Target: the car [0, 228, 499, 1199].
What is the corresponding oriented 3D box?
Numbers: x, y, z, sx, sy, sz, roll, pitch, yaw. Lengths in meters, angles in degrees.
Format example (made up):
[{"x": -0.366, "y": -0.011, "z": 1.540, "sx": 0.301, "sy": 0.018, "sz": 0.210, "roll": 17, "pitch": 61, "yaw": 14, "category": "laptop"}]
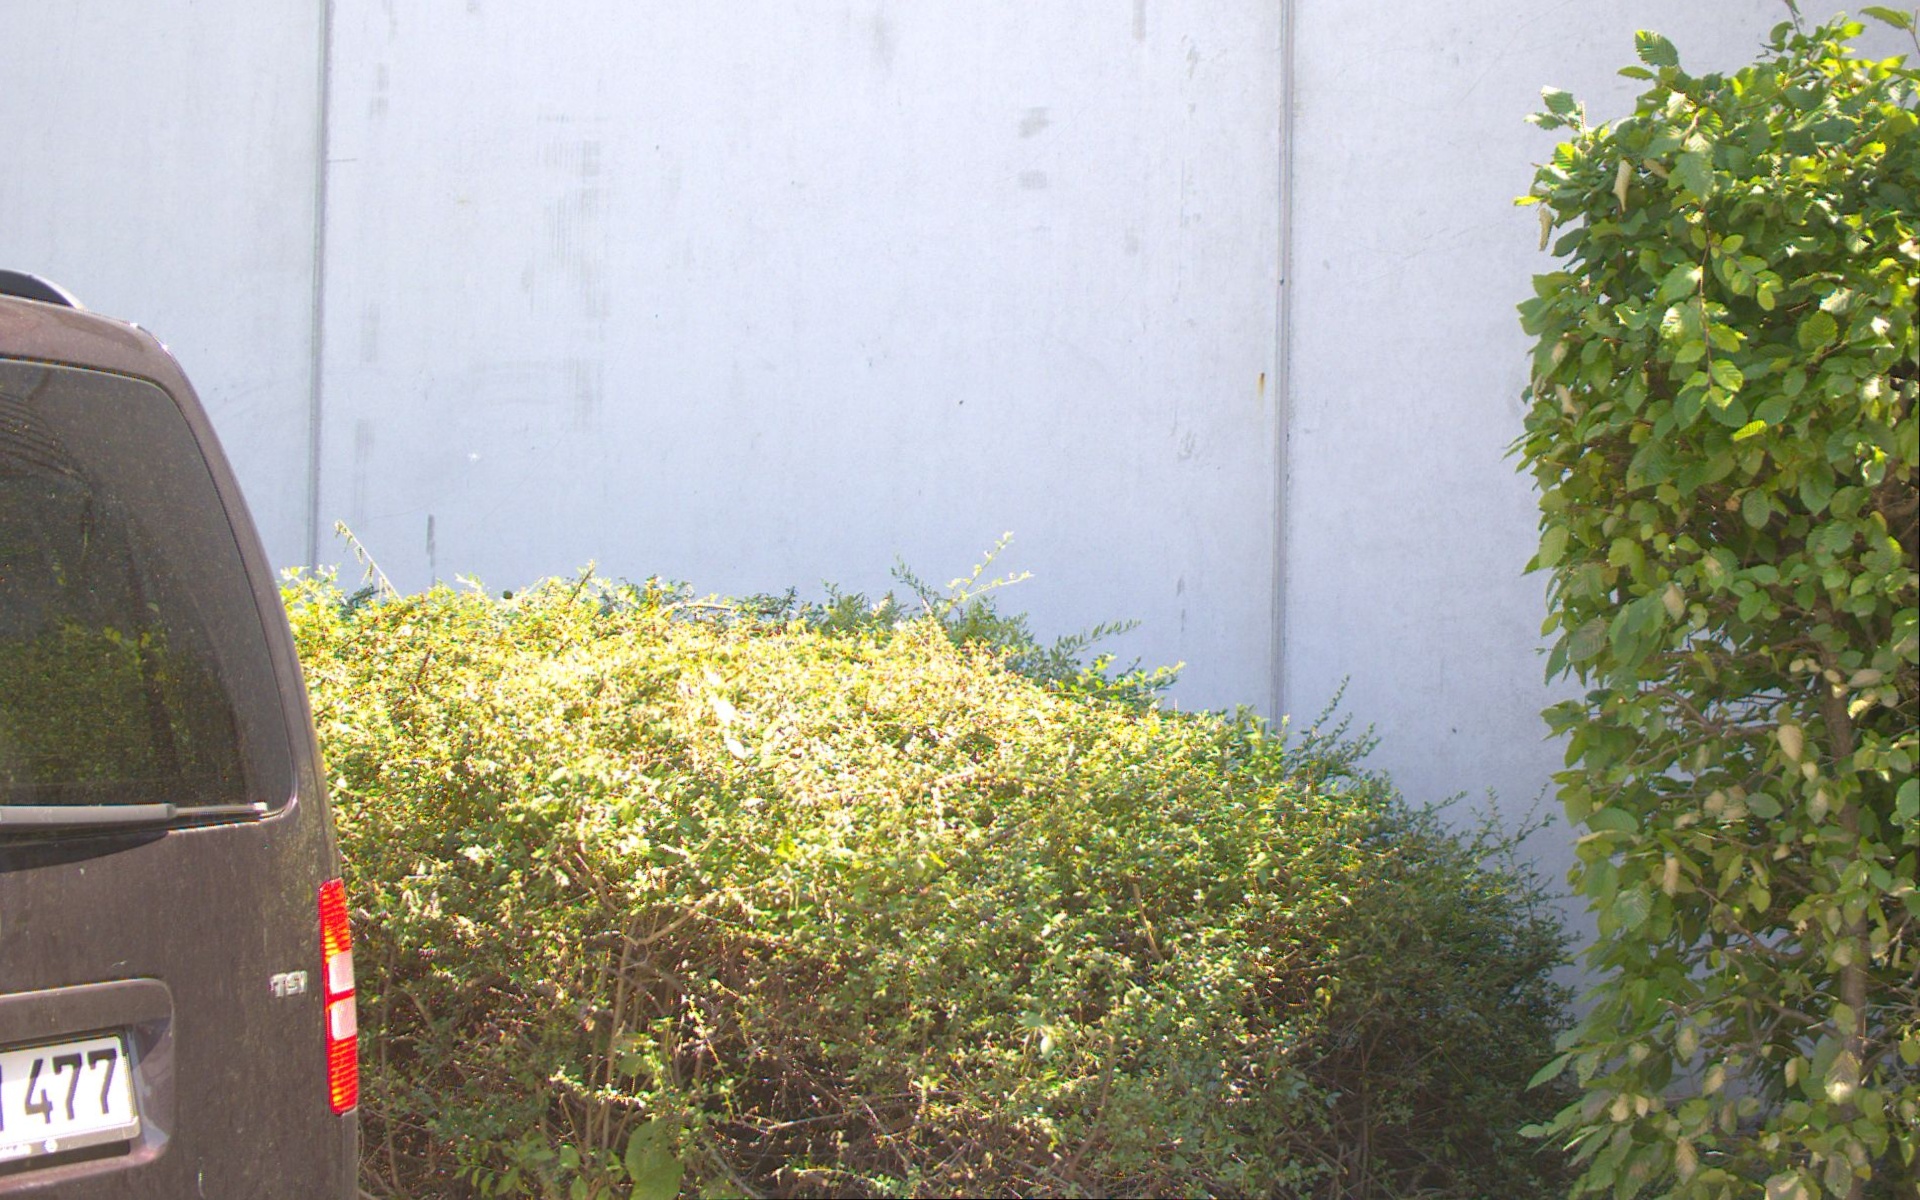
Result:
[{"x": -2.750, "y": 0.504, "z": 4.831, "sx": 4.066, "sy": 1.877, "sz": 1.675, "roll": 1, "pitch": 0, "yaw": 34, "category": "car"}]
